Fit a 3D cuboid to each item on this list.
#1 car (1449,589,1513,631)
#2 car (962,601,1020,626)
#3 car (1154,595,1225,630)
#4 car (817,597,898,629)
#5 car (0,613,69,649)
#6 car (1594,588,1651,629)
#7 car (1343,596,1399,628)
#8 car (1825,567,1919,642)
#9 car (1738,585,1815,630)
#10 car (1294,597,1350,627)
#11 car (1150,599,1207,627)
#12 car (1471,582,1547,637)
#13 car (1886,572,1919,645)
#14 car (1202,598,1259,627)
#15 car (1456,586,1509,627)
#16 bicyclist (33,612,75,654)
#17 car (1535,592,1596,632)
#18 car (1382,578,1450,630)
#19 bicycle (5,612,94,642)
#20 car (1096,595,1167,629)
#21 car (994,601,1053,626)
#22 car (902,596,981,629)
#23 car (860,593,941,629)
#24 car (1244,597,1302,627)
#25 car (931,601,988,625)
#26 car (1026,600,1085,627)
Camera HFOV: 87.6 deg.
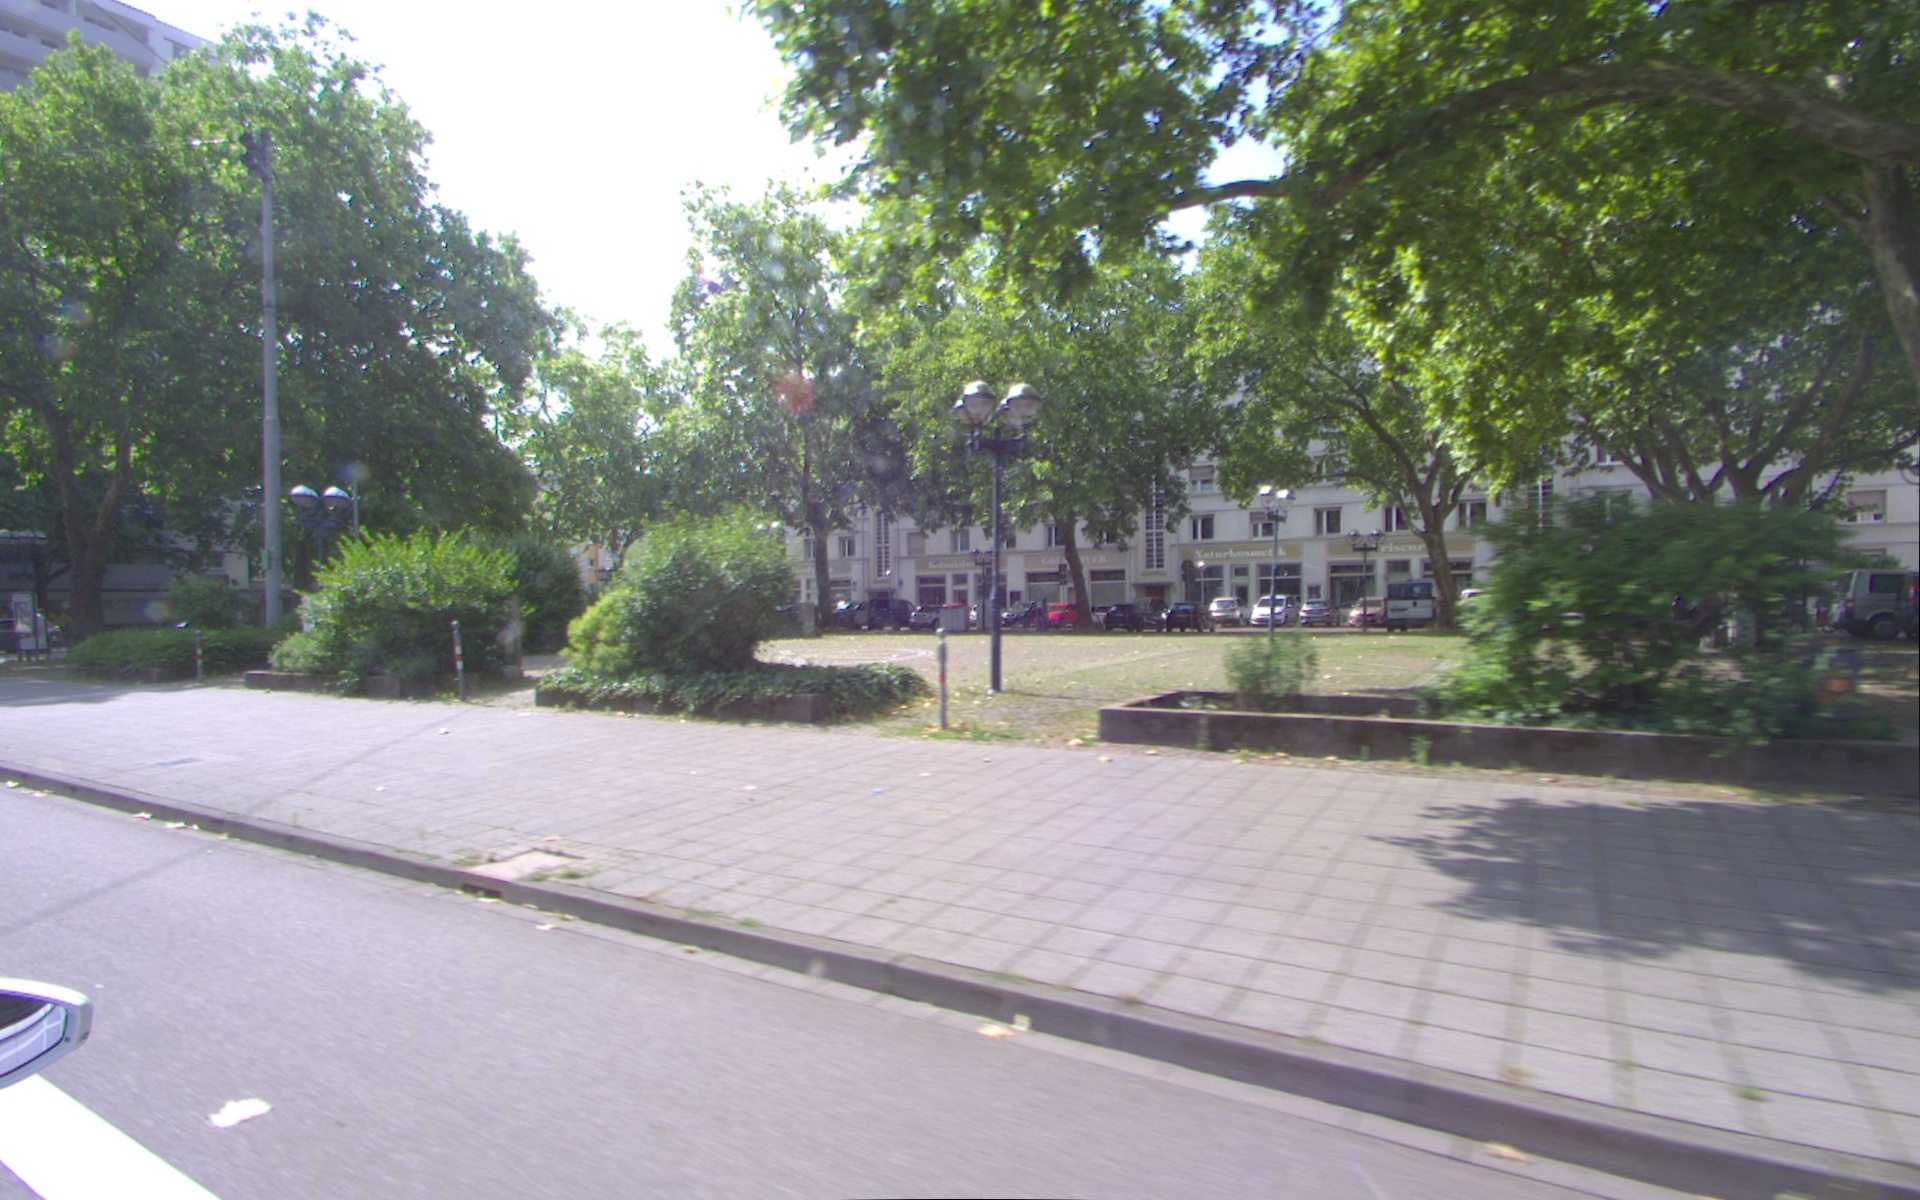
[{"bbox_3d":[21.100,0.365,40.477,1.971,1.615,4.245,0,0,32],"label":"car"},{"bbox_3d":[2.102,0.847,65.923,1.958,1.541,4.245,0,0,32],"label":"car"},{"bbox_3d":[10.859,0.551,47.183,1.958,1.541,4.245,0,0,32],"label":"car"},{"bbox_3d":[-5.865,0.701,57.608,2.161,1.729,4.668,0,0,34],"label":"car"},{"bbox_3d":[-38.731,1.259,40.112,1.674,1.409,4.493,-1,0,9],"label":"car"},{"bbox_3d":[31.236,0.382,47.197,2.161,1.828,4.730,0,0,34],"label":"car"},{"bbox_3d":[21.807,0.602,53.000,2.008,1.570,4.671,0,0,32],"label":"car"},{"bbox_3d":[26.562,0.117,27.764,3.588,2.014,1.819,-1,1,30],"label":"car"},{"bbox_3d":[35.551,0.295,43.737,2.161,1.828,4.730,0,0,34],"label":"car"},{"bbox_3d":[19.678,0.624,54.308,1.958,1.570,4.671,0,0,32],"label":"car"},{"bbox_3d":[12.721,0.722,58.163,1.958,1.541,4.245,0,0,32],"label":"car"},{"bbox_3d":[18.013,0.277,32.774,1.971,1.658,4.143,0,0,32],"label":"car"},{"bbox_3d":[26.261,0.215,25.223,3.987,1.844,1.820,0,-1,30],"label":"car"},{"bbox_3d":[15.358,0.682,56.691,1.958,1.570,4.415,0,0,32],"label":"car"},{"bbox_3d":[26.303,0.323,50.315,2.008,1.955,4.671,0,0,32],"label":"car"},{"bbox_3d":[-34.207,1.229,37.812,0.769,1.532,0.996,0,1,30],"label":"bicyclist"},{"bbox_3d":[23.289,0.445,38.504,1.931,1.440,4.156,0,0,32],"label":"car"},{"bbox_3d":[19.022,0.148,41.686,2.047,2.040,4.245,0,0,32],"label":"car"},{"bbox_3d":[-34.183,1.001,37.638,0.883,1.062,2.299,0,0,29],"label":"bicycle"},{"bbox_3d":[8.374,0.563,48.683,1.958,1.541,4.245,0,0,32],"label":"car"},{"bbox_3d":[4.107,0.836,64.145,1.958,1.541,4.245,0,0,32],"label":"car"},{"bbox_3d":[-0.978,0.692,55.732,2.161,1.729,4.668,0,0,34],"label":"car"},{"bbox_3d":[-3.314,0.598,56.545,2.161,1.955,4.668,0,0,34],"label":"car"},{"bbox_3d":[17.325,0.638,55.265,1.958,1.570,4.671,0,0,32],"label":"car"},{"bbox_3d":[0.009,0.872,67.707,1.958,1.541,4.245,0,0,32],"label":"car"},{"bbox_3d":[6.014,0.817,62.588,1.958,1.541,4.245,0,0,32],"label":"car"}]
